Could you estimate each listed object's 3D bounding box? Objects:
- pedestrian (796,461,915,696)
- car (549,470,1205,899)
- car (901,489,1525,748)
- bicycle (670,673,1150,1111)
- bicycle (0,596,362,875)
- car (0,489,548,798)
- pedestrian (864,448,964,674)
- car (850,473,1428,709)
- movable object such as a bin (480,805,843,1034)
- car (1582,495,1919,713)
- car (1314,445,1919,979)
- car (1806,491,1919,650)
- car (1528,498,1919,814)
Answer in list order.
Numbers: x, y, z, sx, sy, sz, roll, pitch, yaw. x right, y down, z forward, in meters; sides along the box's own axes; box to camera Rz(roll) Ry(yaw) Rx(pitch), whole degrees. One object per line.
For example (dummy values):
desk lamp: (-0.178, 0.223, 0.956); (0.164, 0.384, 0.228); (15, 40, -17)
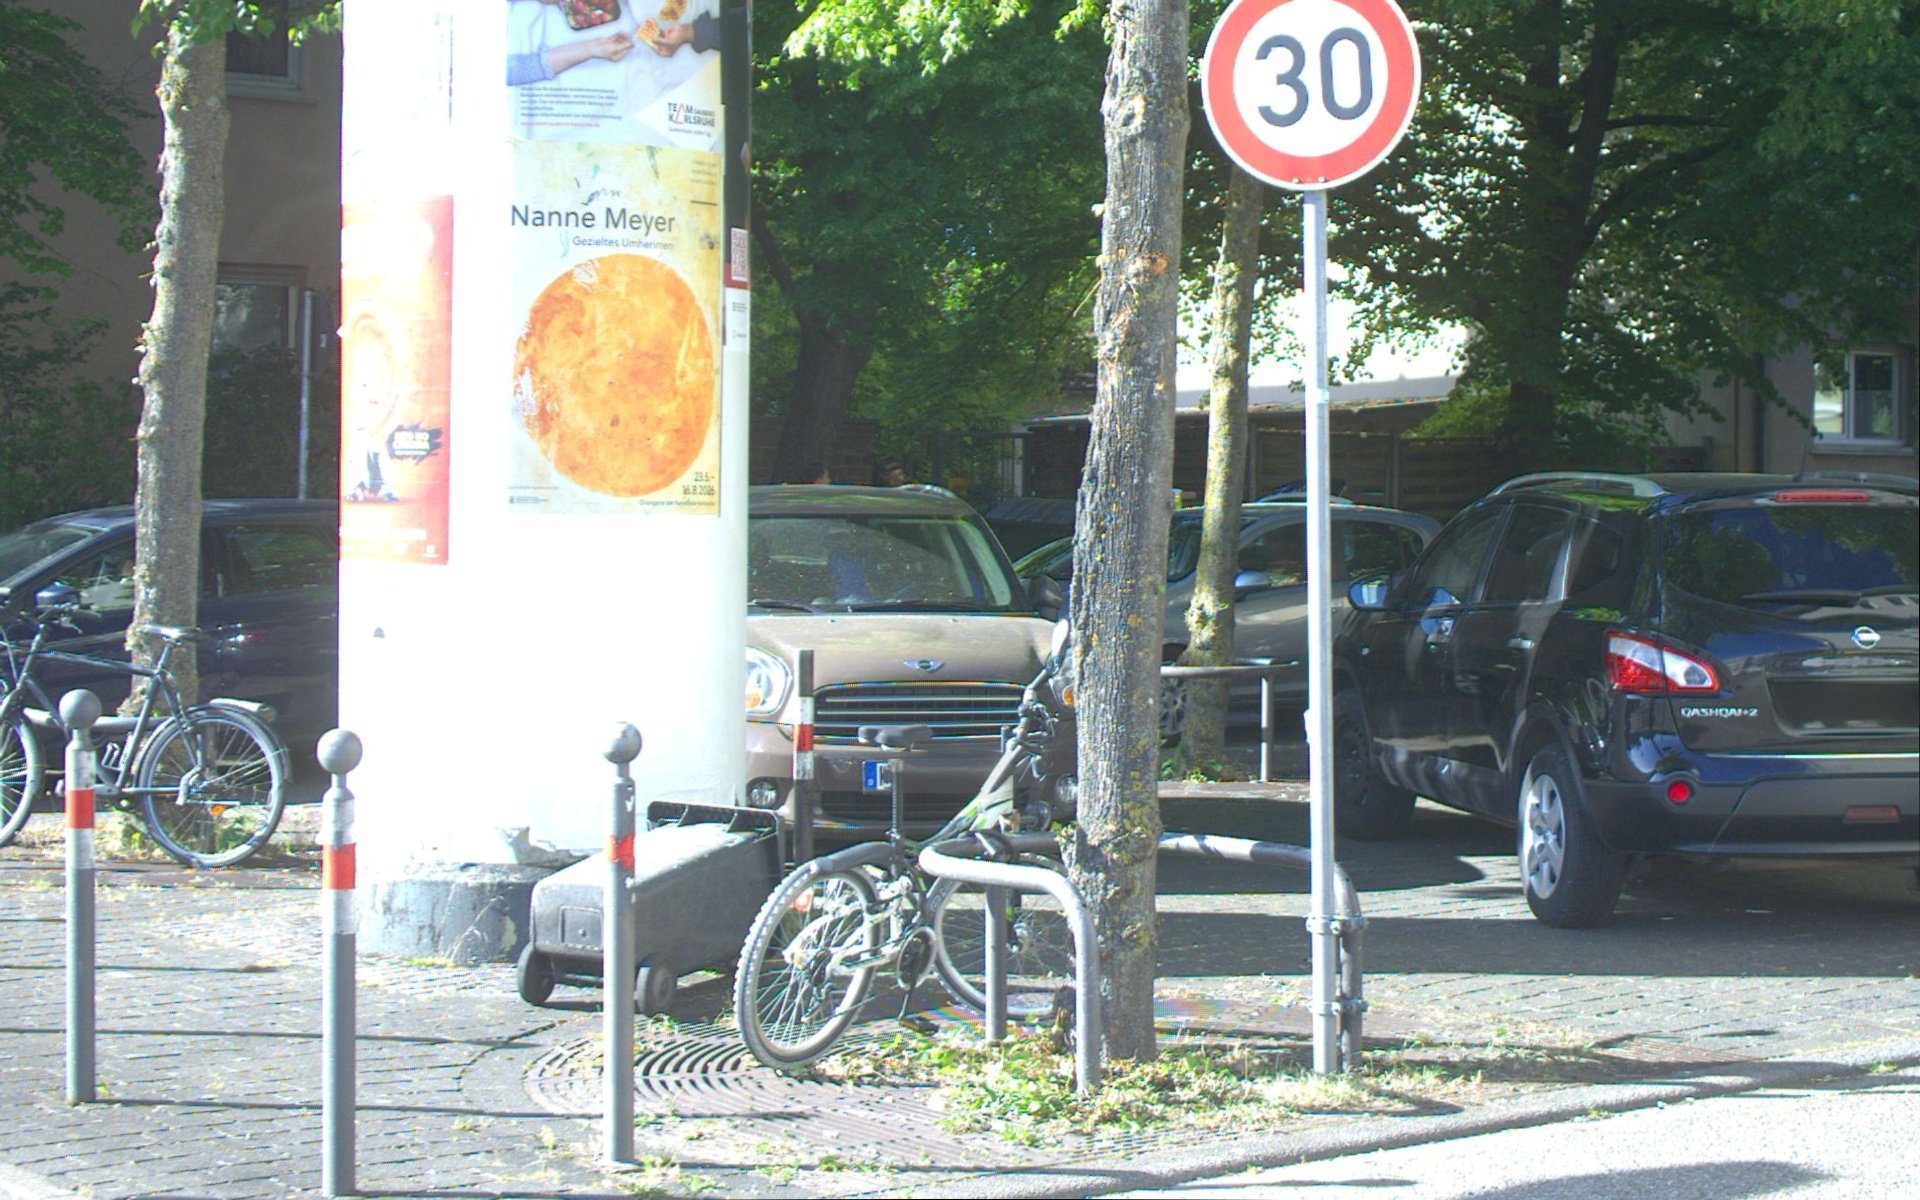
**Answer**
pedestrian: (-0.784, -0.170, 25.763); (0.538, 1.729, 0.742); (-1, 2, -41)
car: (-0.519, 0.257, 15.071); (1.916, 1.605, 4.001); (-1, 2, -16)
car: (1.667, 0.042, 21.782); (3.938, 1.481, 1.759); (-2, 3, -44)
bicycle: (-0.108, 0.775, 9.638); (0.353, 1.068, 1.589); (2, 2, 42)
bicycle: (-3.241, 0.537, 14.327); (0.353, 1.068, 1.589); (2, 2, 42)
car: (-4.531, 0.174, 18.204); (4.287, 1.513, 1.909); (-1, 2, -37)
pedestrian: (-0.359, -0.305, 26.601); (0.740, 1.729, 0.540); (0, 2, -4)
car: (1.393, -0.129, 25.792); (4.234, 1.634, 1.759); (-1, 2, -39)
movable object such as a bin: (-0.918, 0.980, 10.753); (0.577, 0.563, 1.112); (1, 2, 32)
car: (6.525, -0.029, 25.562); (3.938, 1.481, 1.759); (-2, 3, -44)
car: (2.799, 0.272, 13.535); (1.831, 1.665, 4.339); (0, 4, -7)
car: (10.157, -0.317, 32.659); (4.330, 1.430, 1.769); (-1, 2, -37)
car: (4.554, 0.194, 17.781); (1.815, 1.417, 3.951); (0, 2, -13)
